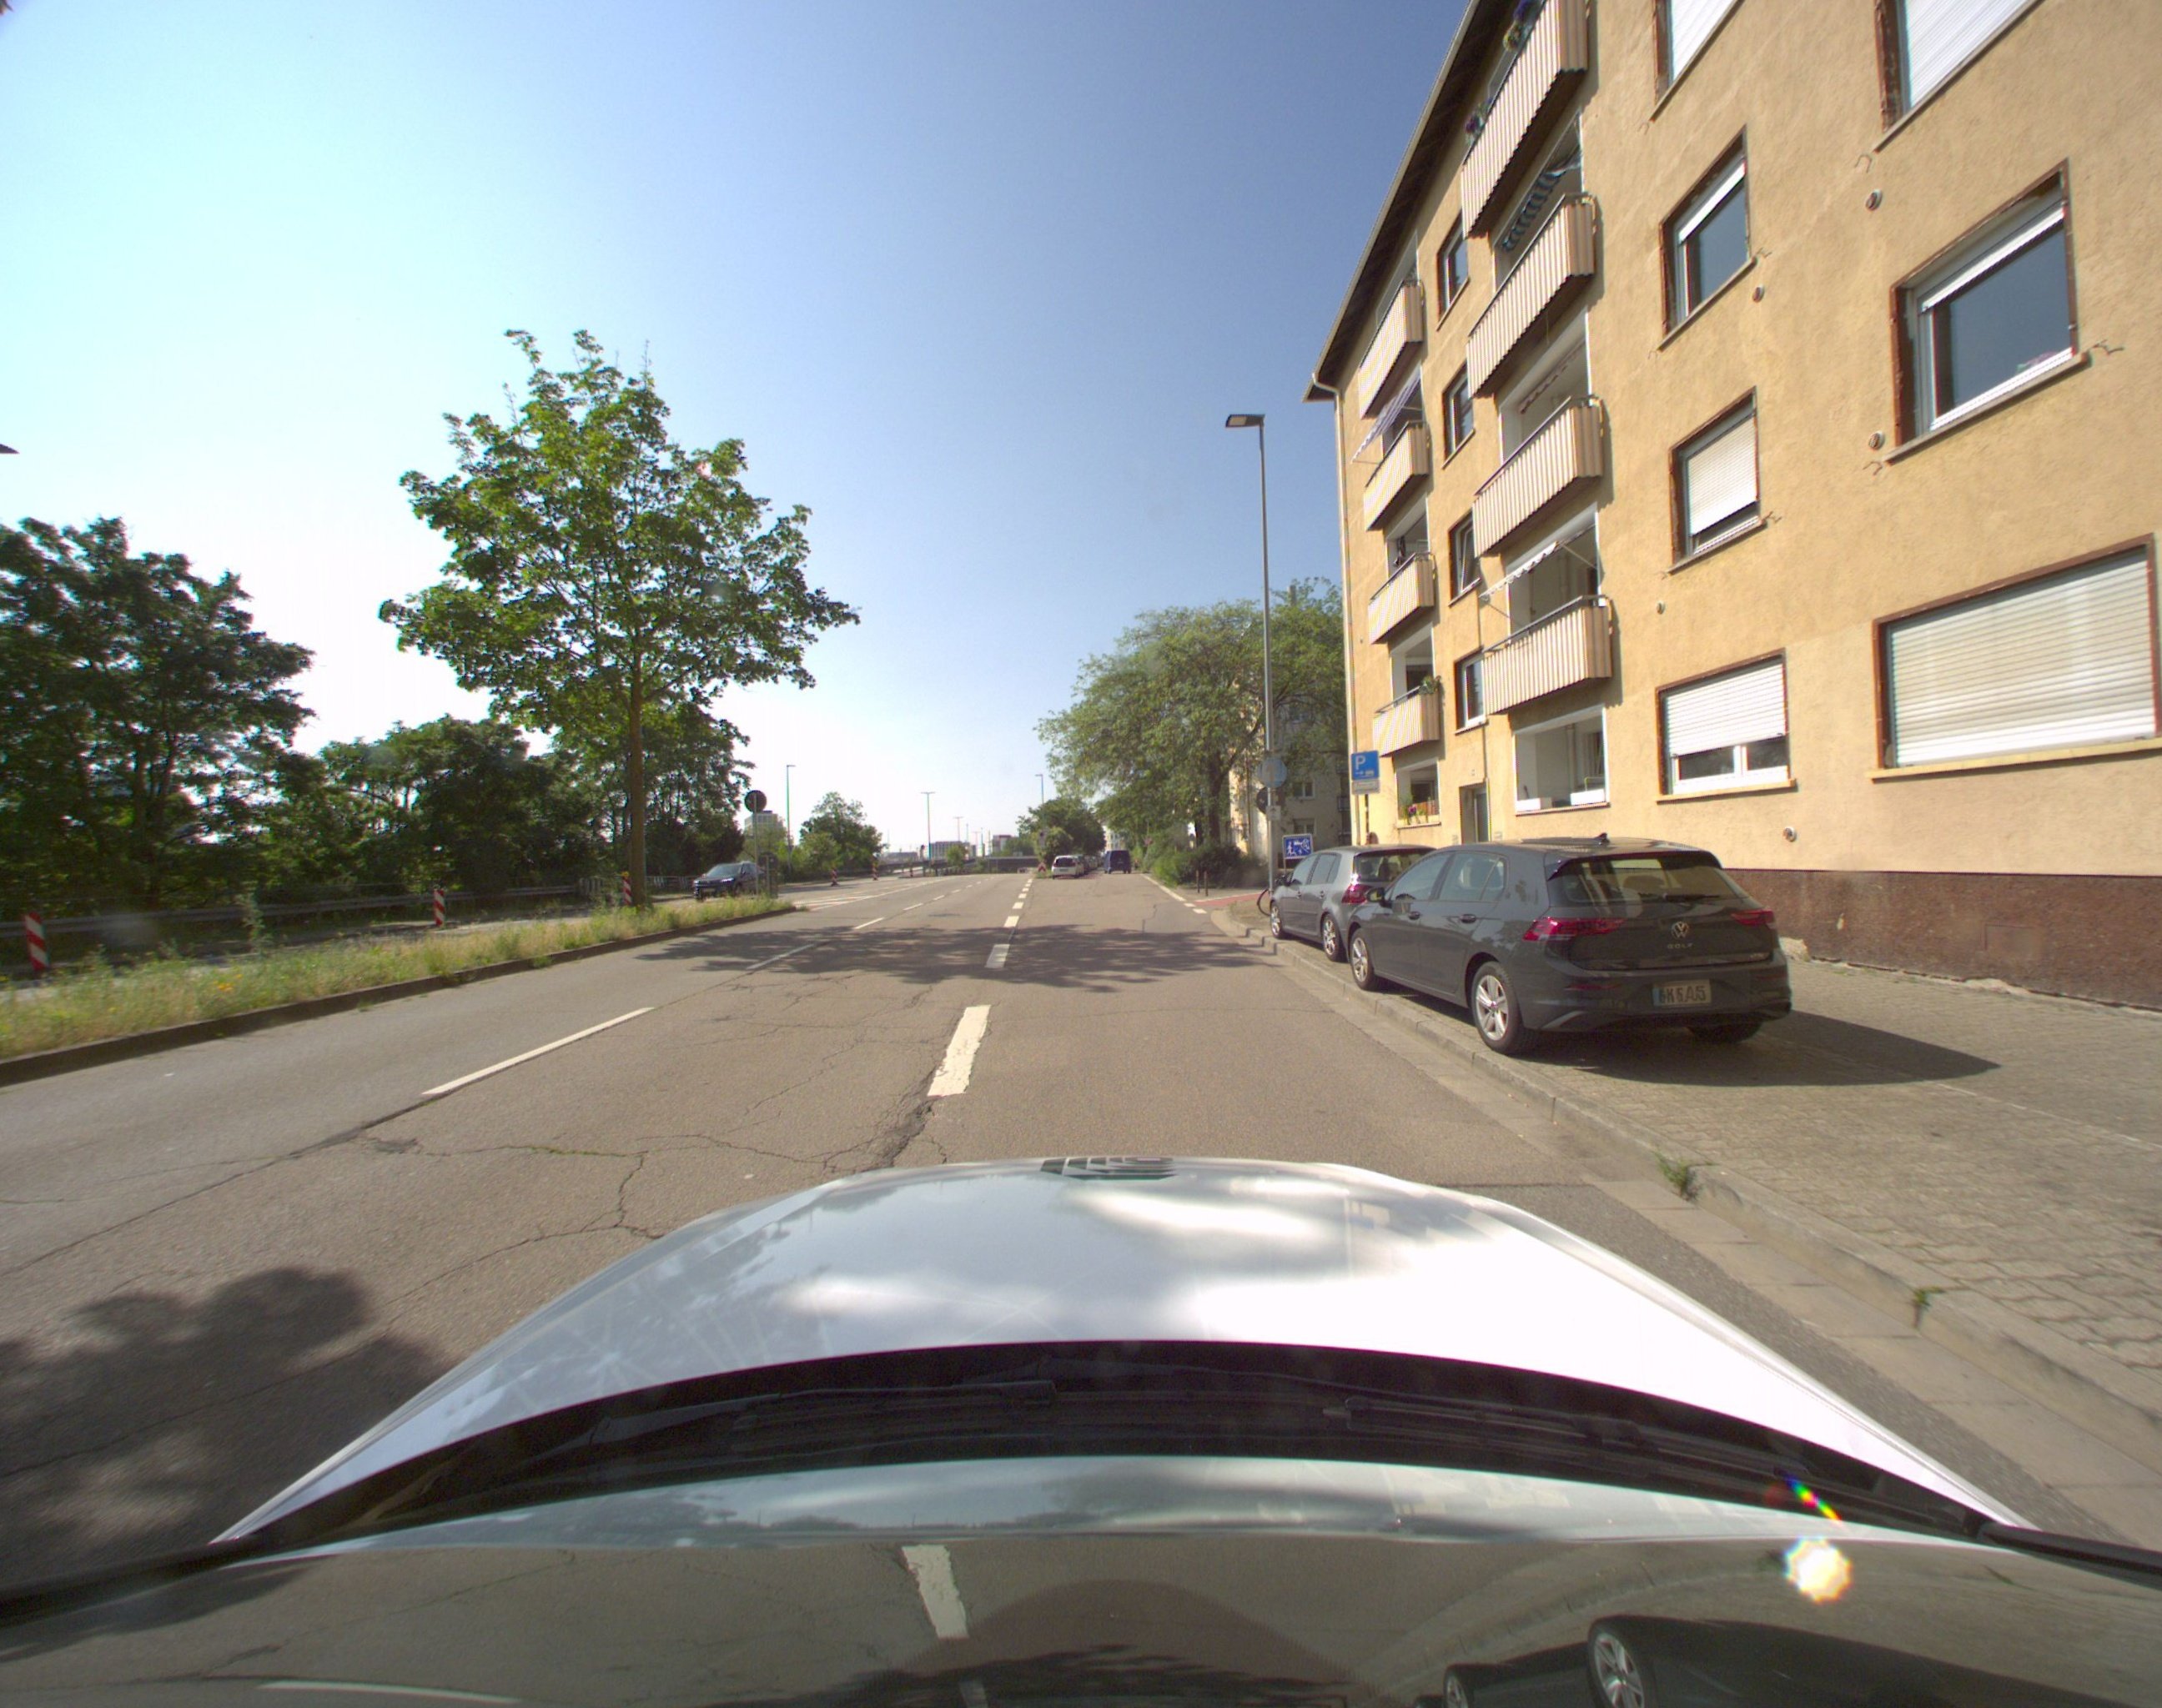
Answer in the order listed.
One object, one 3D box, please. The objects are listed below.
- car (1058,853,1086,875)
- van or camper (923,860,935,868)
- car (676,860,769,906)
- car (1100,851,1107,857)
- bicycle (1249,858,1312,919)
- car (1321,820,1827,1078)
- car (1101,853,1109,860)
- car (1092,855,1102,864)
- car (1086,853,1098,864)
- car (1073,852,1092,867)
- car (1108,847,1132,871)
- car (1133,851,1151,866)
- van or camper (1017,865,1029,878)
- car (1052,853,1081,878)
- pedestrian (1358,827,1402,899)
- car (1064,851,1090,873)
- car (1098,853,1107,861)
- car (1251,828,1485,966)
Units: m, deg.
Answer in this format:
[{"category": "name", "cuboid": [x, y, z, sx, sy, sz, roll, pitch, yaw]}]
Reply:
[{"category": "car", "cuboid": [-0.612, 0.707, 58.146, 1.714, 1.505, 4.135, 0, 0, 3]}, {"category": "van or camper", "cuboid": [-26.618, 1.708, 142.510, 1.464, 1.350, 4.624, -2, 0, -4]}, {"category": "car", "cuboid": [-15.540, 1.200, 35.585, 1.988, 1.734, 4.727, -2, 0, -1]}, {"category": "car", "cuboid": [6.859, 0.121, 244.149, 1.986, 1.657, 4.001, -2, 0, 1]}, {"category": "bicycle", "cuboid": [4.027, 0.666, 16.562, 0.701, 1.123, 1.743, -3, 0, -4]}, {"category": "car", "cuboid": [3.607, 0.556, 7.030, 1.706, 1.462, 4.254, -3, 0, -1]}, {"category": "car", "cuboid": [5.935, 0.567, 201.278, 1.986, 1.657, 4.001, -2, 0, 1]}, {"category": "car", "cuboid": [2.729, 0.895, 138.305, 1.657, 1.509, 4.011, 0, 0, 3]}, {"category": "car", "cuboid": [1.658, 0.633, 121.651, 1.657, 1.509, 4.011, 0, 0, 3]}, {"category": "car", "cuboid": [0.176, 0.519, 79.322, 1.657, 1.473, 3.792, 0, 0, 3]}, {"category": "car", "cuboid": [3.233, 0.379, 67.206, 1.875, 1.921, 4.011, 0, 0, 3]}, {"category": "car", "cuboid": [6.443, 0.440, 86.322, 1.720, 1.420, 4.002, -4, 0, 2]}, {"category": "van or camper", "cuboid": [-13.651, 4.145, 192.128, 2.288, 2.789, 5.573, -2, 0, 1]}, {"category": "car", "cuboid": [-0.936, 0.733, 53.543, 1.613, 1.505, 3.464, -2, 0, 3]}, {"category": "pedestrian", "cuboid": [6.882, 0.199, 18.774, 0.652, 1.609, 0.824, -3, 0, 3]}, {"category": "car", "cuboid": [-0.342, 0.610, 63.853, 1.768, 1.579, 4.180, -3, 0, -4]}, {"category": "car", "cuboid": [5.066, 0.722, 191.491, 1.986, 1.657, 4.001, -2, 0, 1]}, {"category": "car", "cuboid": [3.827, 0.481, 11.668, 1.699, 1.514, 4.088, -4, 1, -2]}]
